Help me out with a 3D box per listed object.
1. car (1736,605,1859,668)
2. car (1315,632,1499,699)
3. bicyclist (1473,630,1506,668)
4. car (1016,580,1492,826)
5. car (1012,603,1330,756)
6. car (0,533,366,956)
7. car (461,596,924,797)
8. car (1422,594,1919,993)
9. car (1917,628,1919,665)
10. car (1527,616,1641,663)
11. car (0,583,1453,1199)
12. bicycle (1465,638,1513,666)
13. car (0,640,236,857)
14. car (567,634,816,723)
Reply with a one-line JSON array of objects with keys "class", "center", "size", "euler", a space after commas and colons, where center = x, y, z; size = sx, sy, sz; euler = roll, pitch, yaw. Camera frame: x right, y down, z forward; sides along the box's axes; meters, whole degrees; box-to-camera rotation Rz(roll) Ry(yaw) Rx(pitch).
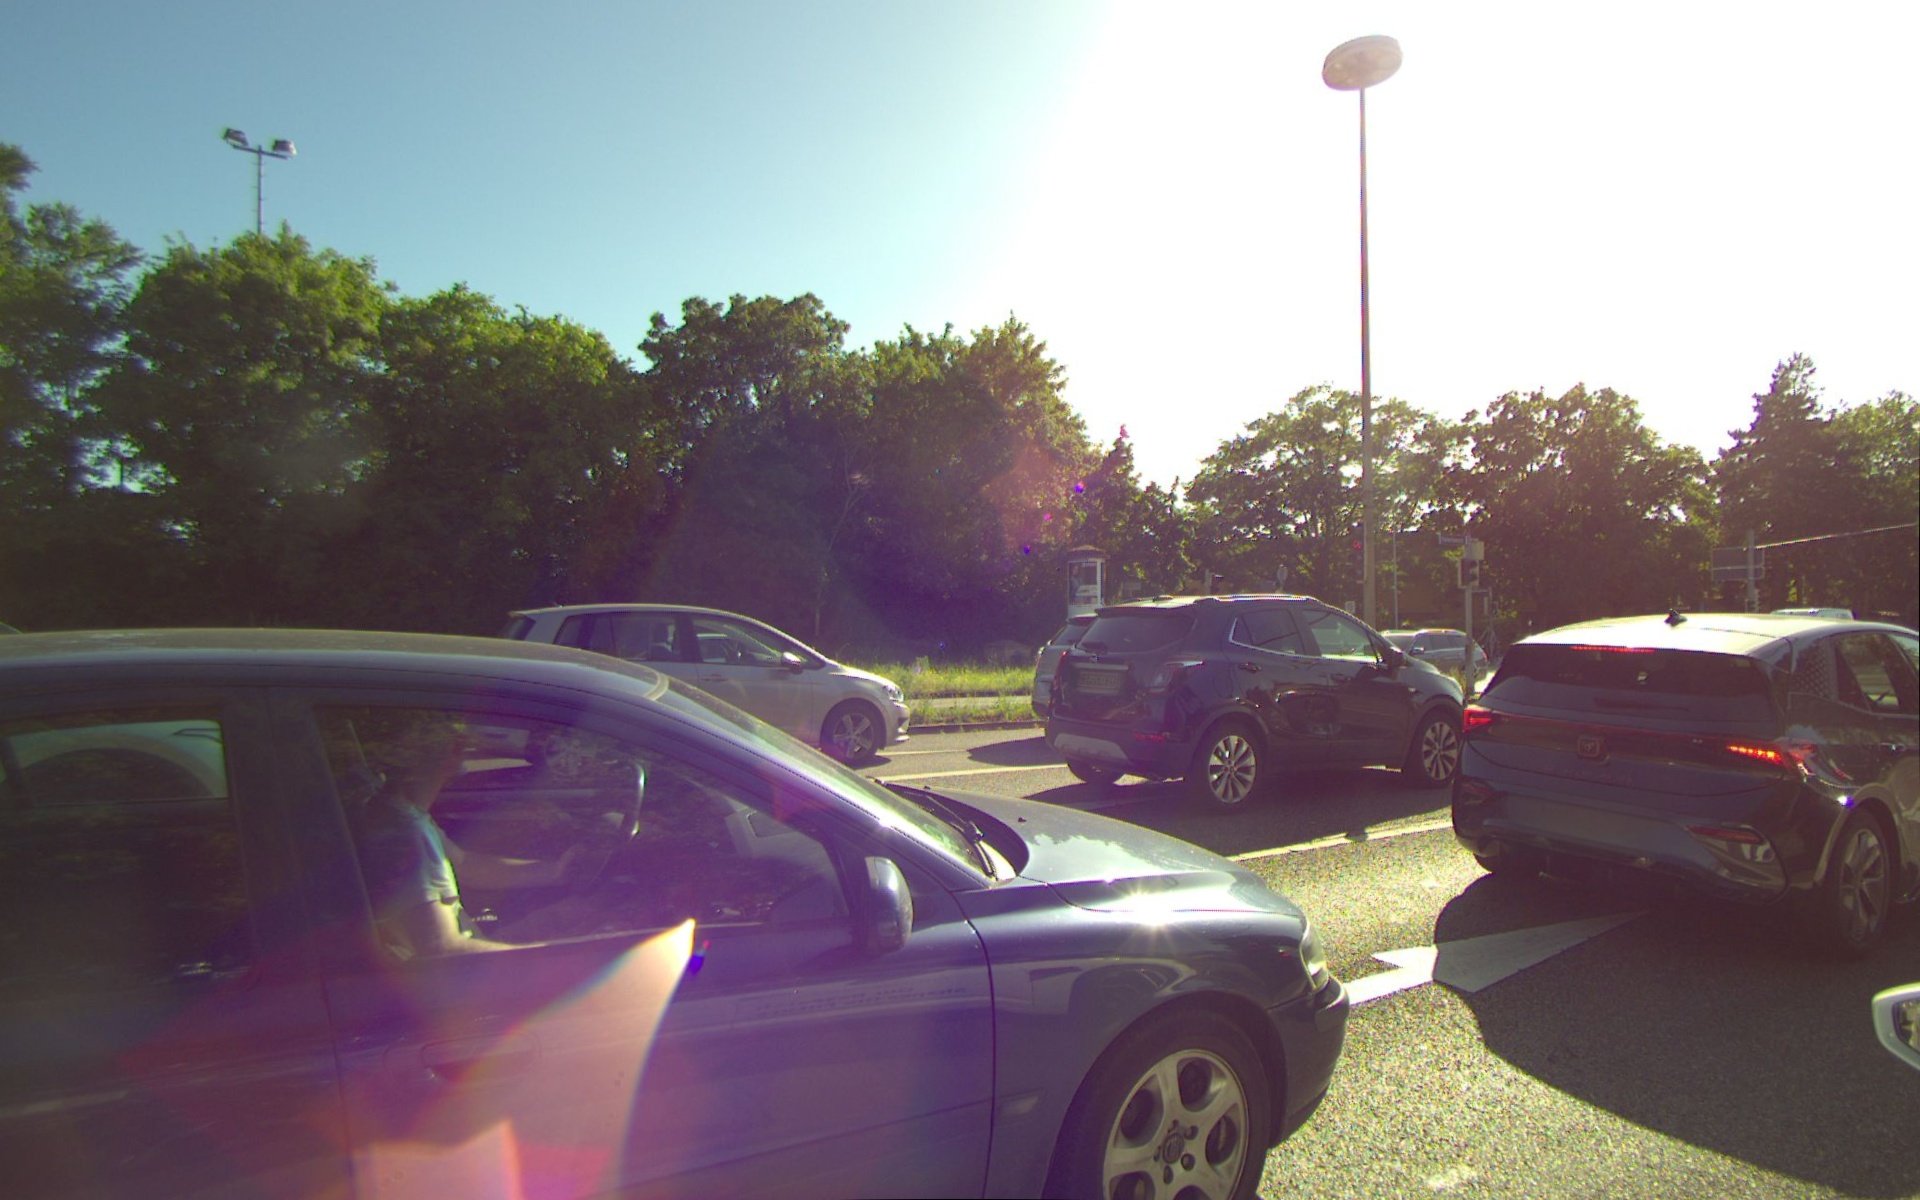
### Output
[{"class": "car", "center": [35.524, 1.537, 42.574], "size": [5.934, 2.525, 2.090], "euler": [1, -2, -30]}, {"class": "car", "center": [10.684, 1.502, 23.937], "size": [4.561, 1.452, 1.678], "euler": [1, -2, -30]}, {"class": "bicyclist", "center": [23.868, 2.204, 45.266], "size": [1.187, 1.670, 0.870], "euler": [1, -2, -35]}, {"class": "car", "center": [2.623, 0.776, 8.801], "size": [3.953, 1.711, 1.796], "euler": [1, -2, -30]}, {"class": "car", "center": [2.813, 0.961, 13.188], "size": [3.956, 1.724, 1.820], "euler": [1, -2, -32]}, {"class": "car", "center": [-5.247, 0.605, 4.515], "size": [4.373, 1.732, 1.984], "euler": [1, -2, -30]}, {"class": "car", "center": [-2.611, 0.844, 10.012], "size": [4.156, 1.632, 1.822], "euler": [1, -2, -30]}, {"class": "car", "center": [4.743, 0.833, 5.822], "size": [4.158, 1.601, 1.676], "euler": [2, -1, -30]}, {"class": "car", "center": [43.907, 2.015, 43.792], "size": [4.561, 1.622, 1.984], "euler": [1, -2, -30]}, {"class": "car", "center": [21.355, 1.339, 34.357], "size": [3.956, 1.529, 1.678], "euler": [1, -2, -30]}, {"class": "car", "center": [-1.093, 0.731, 2.207], "size": [4.404, 1.471, 1.767], "euler": [2, 0, -30]}, {"class": "bicycle", "center": [23.851, 2.328, 45.243], "size": [2.511, 1.228, 0.870], "euler": [1, -2, -35]}, {"class": "car", "center": [-7.910, 1.010, 6.951], "size": [4.499, 1.448, 1.822], "euler": [1, -2, -30]}, {"class": "car", "center": [-4.900, 1.365, 18.505], "size": [4.171, 1.475, 1.634], "euler": [1, -2, -30]}]
